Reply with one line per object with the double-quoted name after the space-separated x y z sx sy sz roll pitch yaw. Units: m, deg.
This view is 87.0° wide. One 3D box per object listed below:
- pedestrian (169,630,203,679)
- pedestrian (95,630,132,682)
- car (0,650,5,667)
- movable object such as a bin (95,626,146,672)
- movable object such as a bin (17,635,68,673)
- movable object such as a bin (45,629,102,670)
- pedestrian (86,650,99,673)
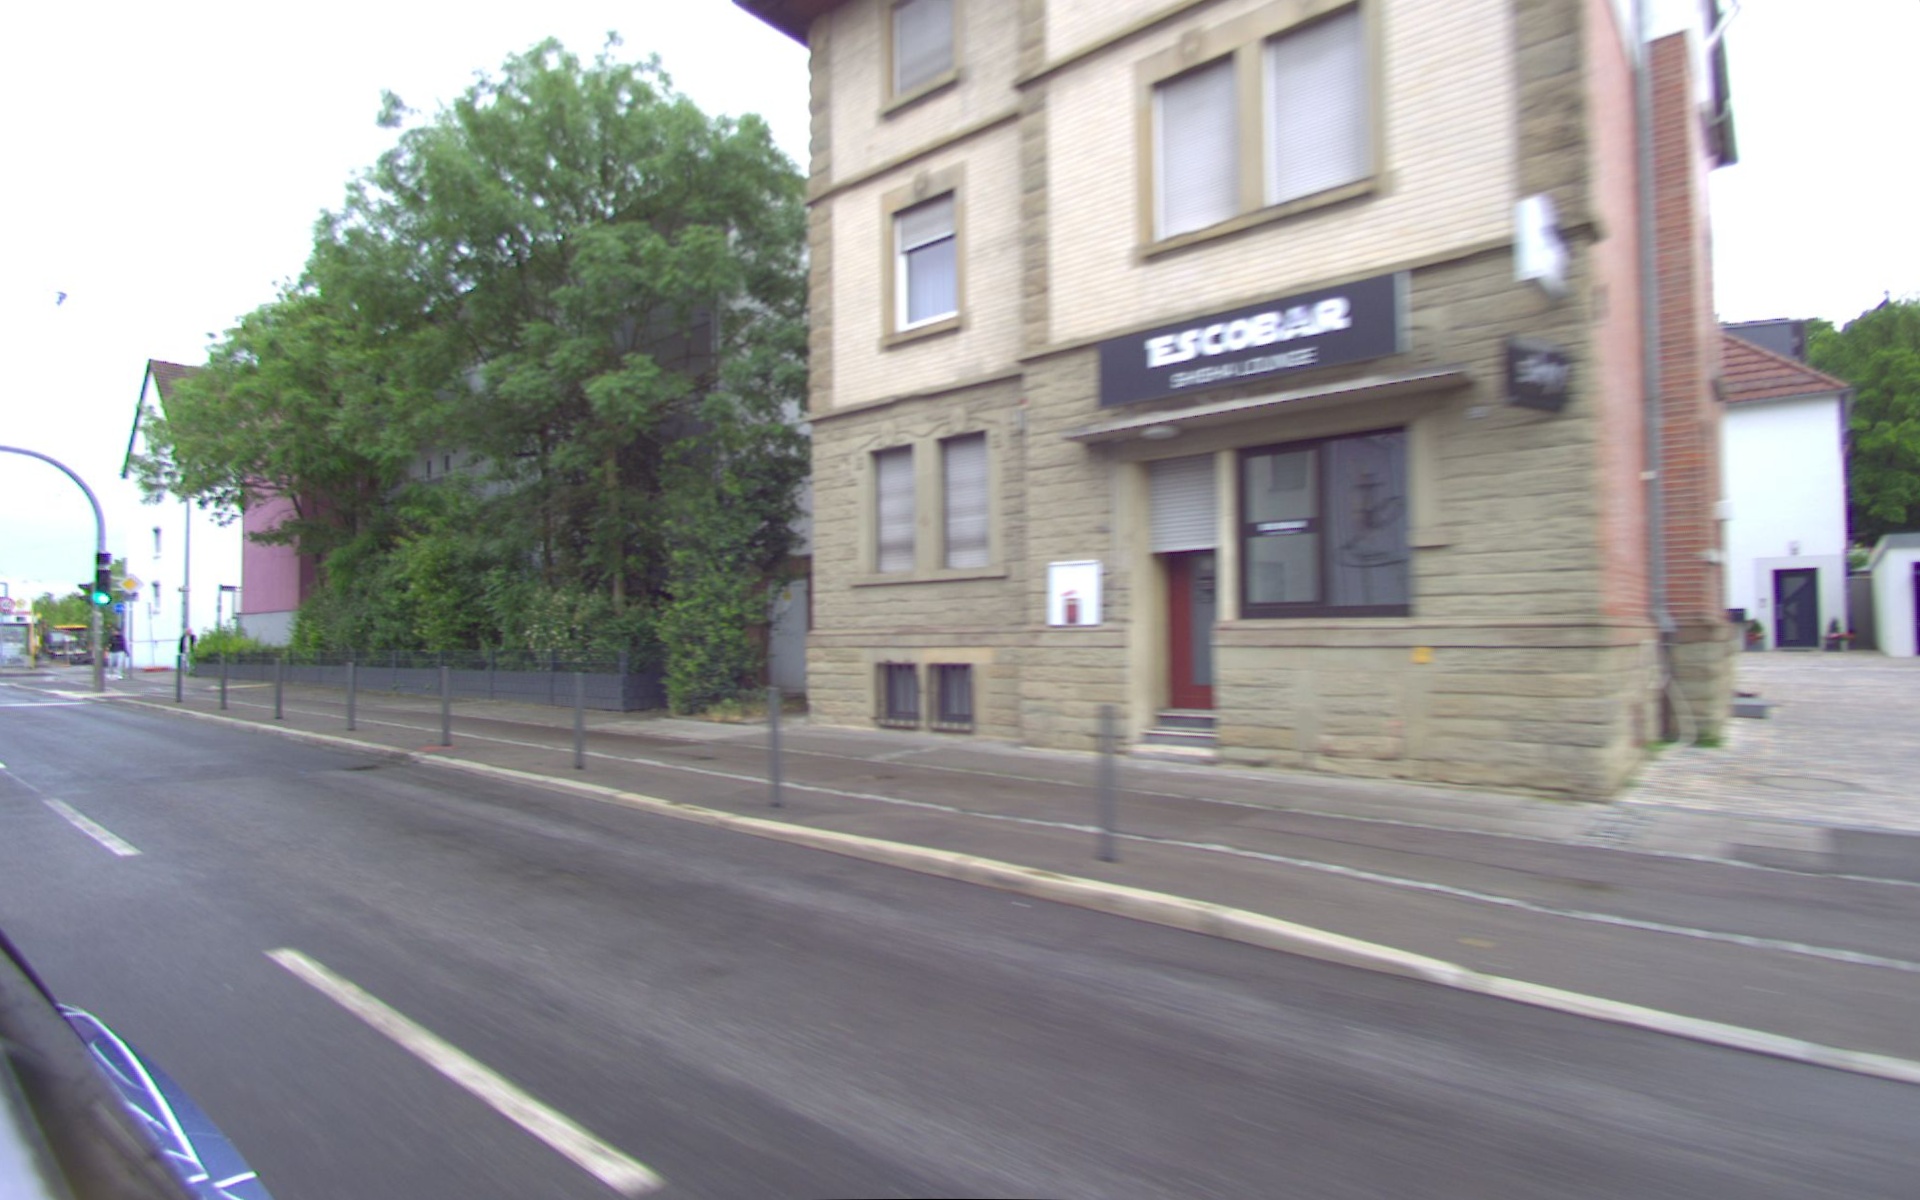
-29.546 2.072 38.639 1.115 1.835 0.797 -4 -3 40 "pedestrian"
-31.532 2.079 37.681 1.043 1.897 0.853 -4 -4 39 "pedestrian"
-83.820 5.026 87.086 1.759 1.464 4.400 1 -3 -35 "car"
-55.378 3.253 66.851 2.101 2.828 4.990 -2 -2 -35 "movable object such as a bin"
-79.502 4.691 87.752 2.787 3.136 4.643 1 -4 -37 "movable object such as a bin"
-88.494 4.981 101.149 2.907 3.873 8.150 0 -3 -31 "movable object such as a bin"
-60.851 4.304 70.981 0.594 1.540 1.040 -1 -3 -35 "pedestrian"
